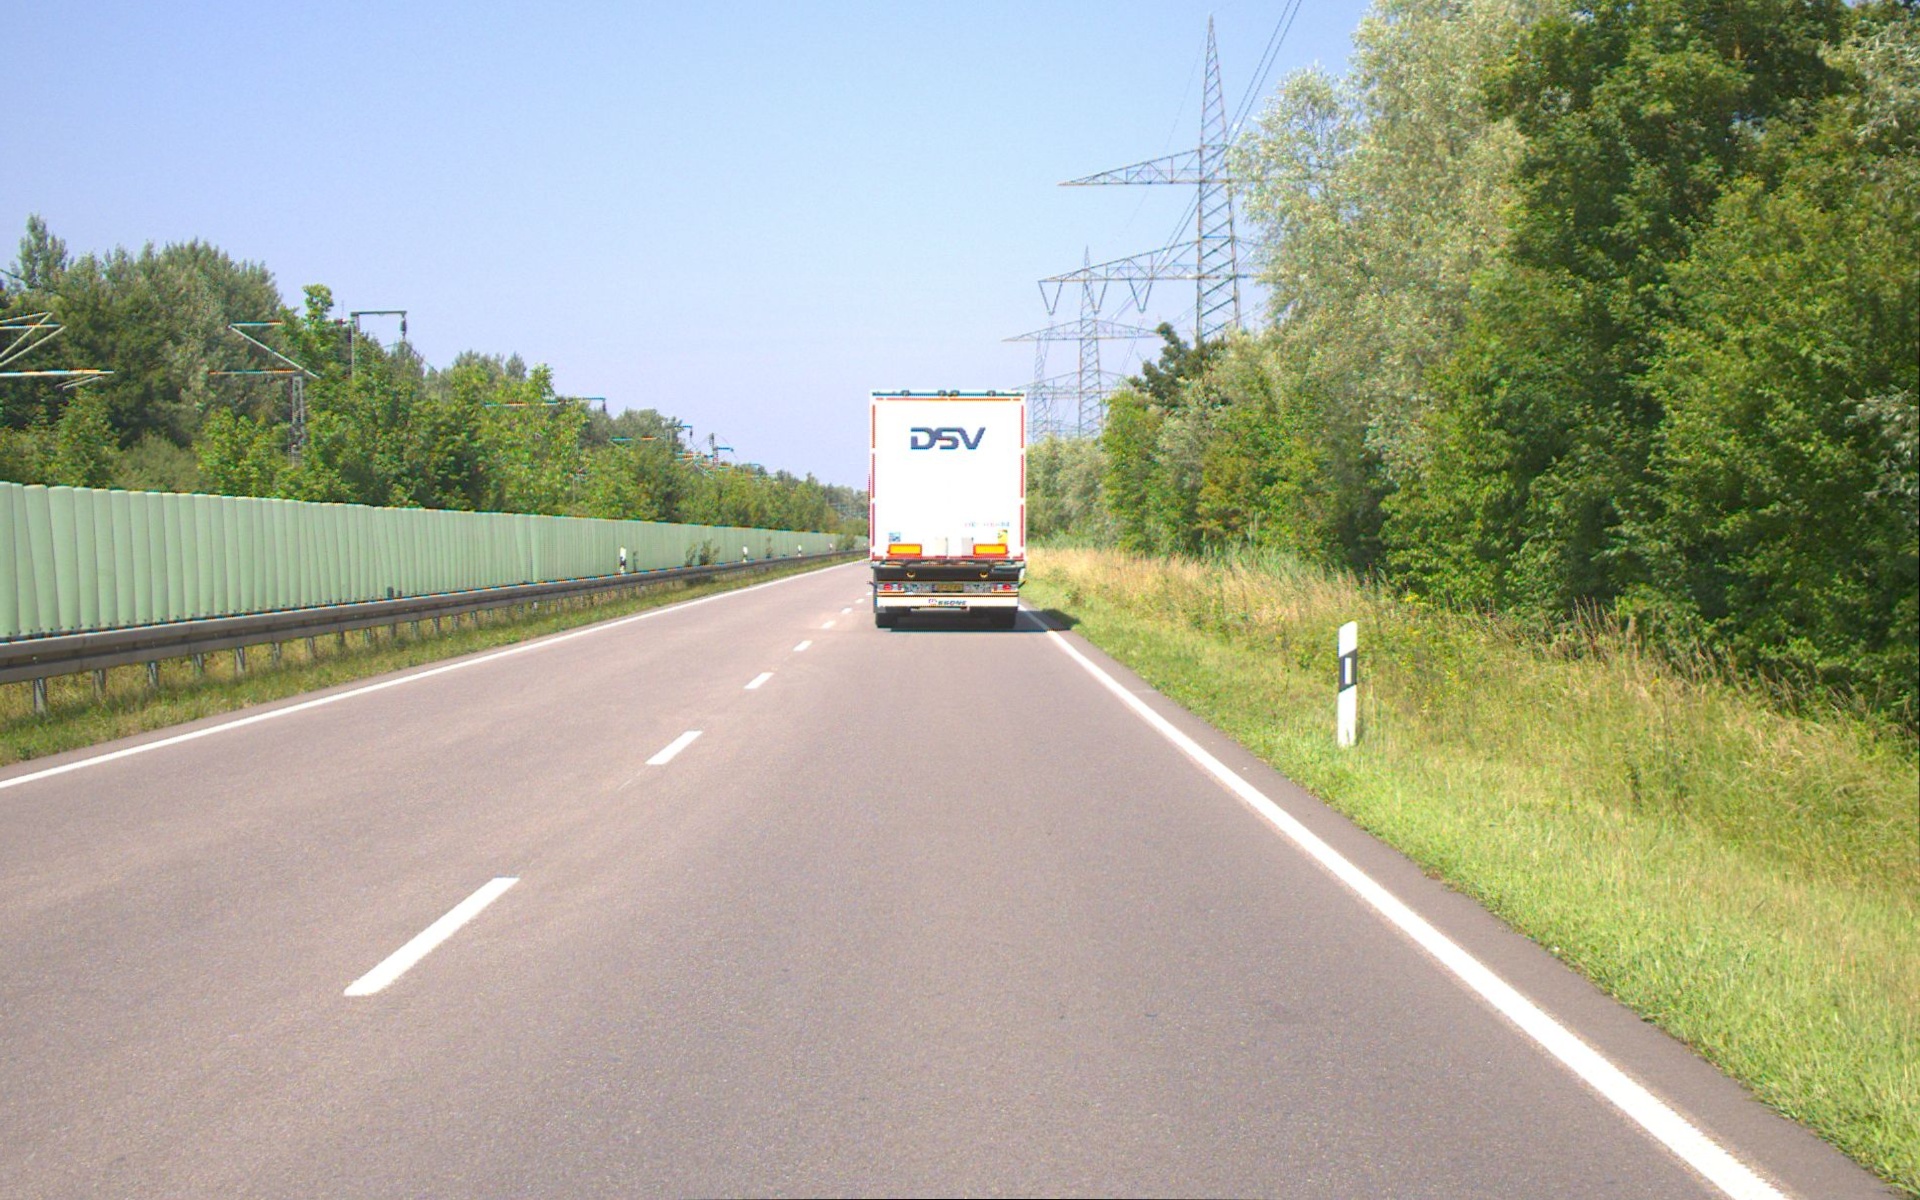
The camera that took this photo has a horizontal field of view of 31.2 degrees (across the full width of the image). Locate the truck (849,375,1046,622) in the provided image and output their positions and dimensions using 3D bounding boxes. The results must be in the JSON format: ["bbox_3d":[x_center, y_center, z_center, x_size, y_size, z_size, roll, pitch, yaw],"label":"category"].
[{"bbox_3d":[-0.290,-1.778,61.995,3.192,4.029,12.008,0,1,-1],"label":"truck"}]
